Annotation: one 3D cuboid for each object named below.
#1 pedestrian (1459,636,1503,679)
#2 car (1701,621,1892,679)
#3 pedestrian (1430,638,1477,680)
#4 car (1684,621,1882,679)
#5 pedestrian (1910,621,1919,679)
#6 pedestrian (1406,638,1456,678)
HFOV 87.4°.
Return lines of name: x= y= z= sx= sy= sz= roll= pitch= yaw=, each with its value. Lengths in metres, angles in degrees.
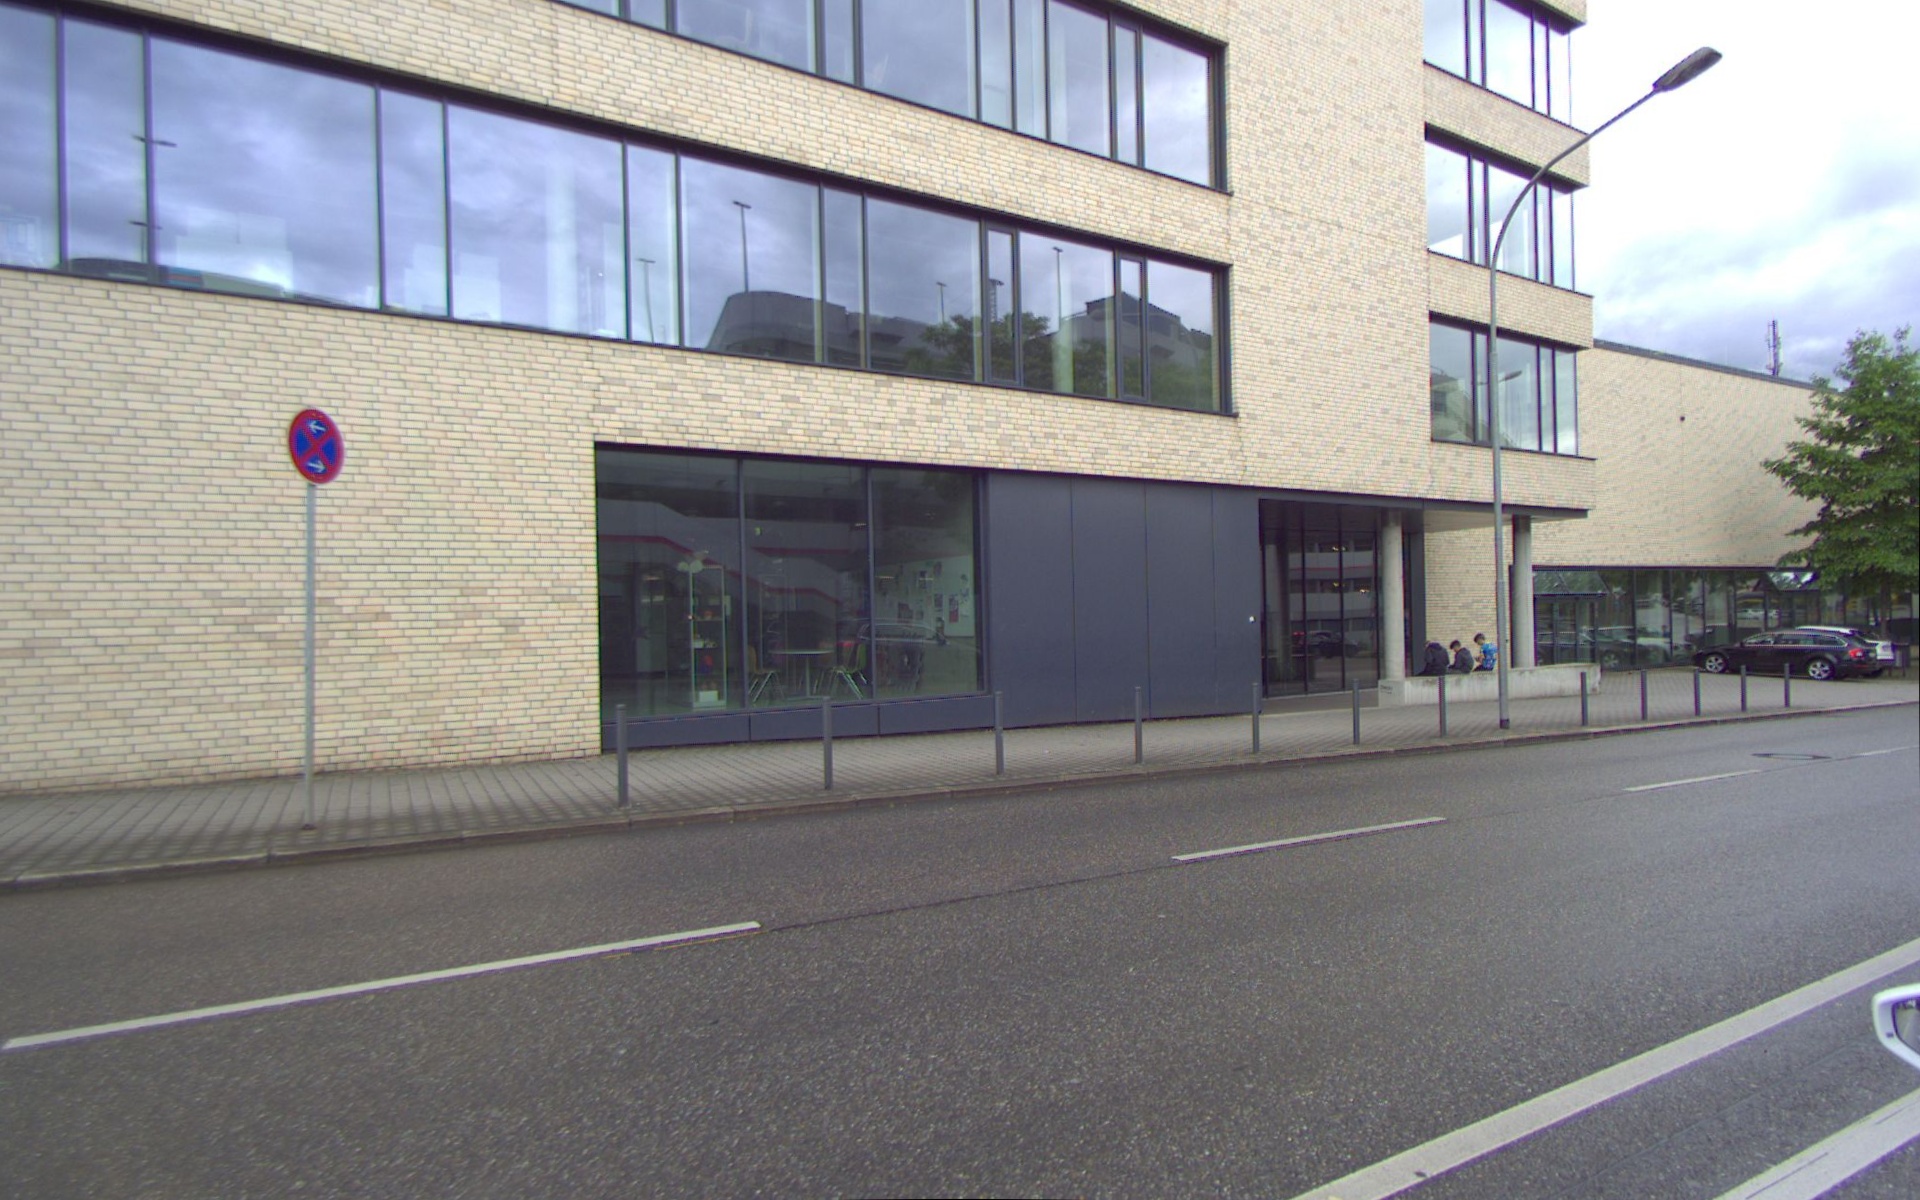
pedestrian: x=11.530 y=1.271 z=22.238 sx=0.518 sy=0.897 sz=0.677 roll=2 pitch=0 yaw=-32
car: x=27.070 y=1.550 z=32.651 sx=1.979 sy=1.595 sz=4.389 roll=-1 pitch=1 yaw=-33
pedestrian: x=10.538 y=1.248 z=21.445 sx=0.718 sy=0.856 sz=0.584 roll=2 pitch=-1 yaw=-29
car: x=25.712 y=1.514 z=31.531 sx=1.980 sy=1.608 sz=4.439 roll=1 pitch=-1 yaw=-35
pedestrian: x=28.659 y=1.497 z=29.718 sx=0.473 sy=1.720 sz=0.673 roll=2 pitch=0 yaw=-29
pedestrian: x=9.863 y=1.210 z=21.037 sx=0.751 sy=0.796 sz=0.595 roll=2 pitch=0 yaw=-29
